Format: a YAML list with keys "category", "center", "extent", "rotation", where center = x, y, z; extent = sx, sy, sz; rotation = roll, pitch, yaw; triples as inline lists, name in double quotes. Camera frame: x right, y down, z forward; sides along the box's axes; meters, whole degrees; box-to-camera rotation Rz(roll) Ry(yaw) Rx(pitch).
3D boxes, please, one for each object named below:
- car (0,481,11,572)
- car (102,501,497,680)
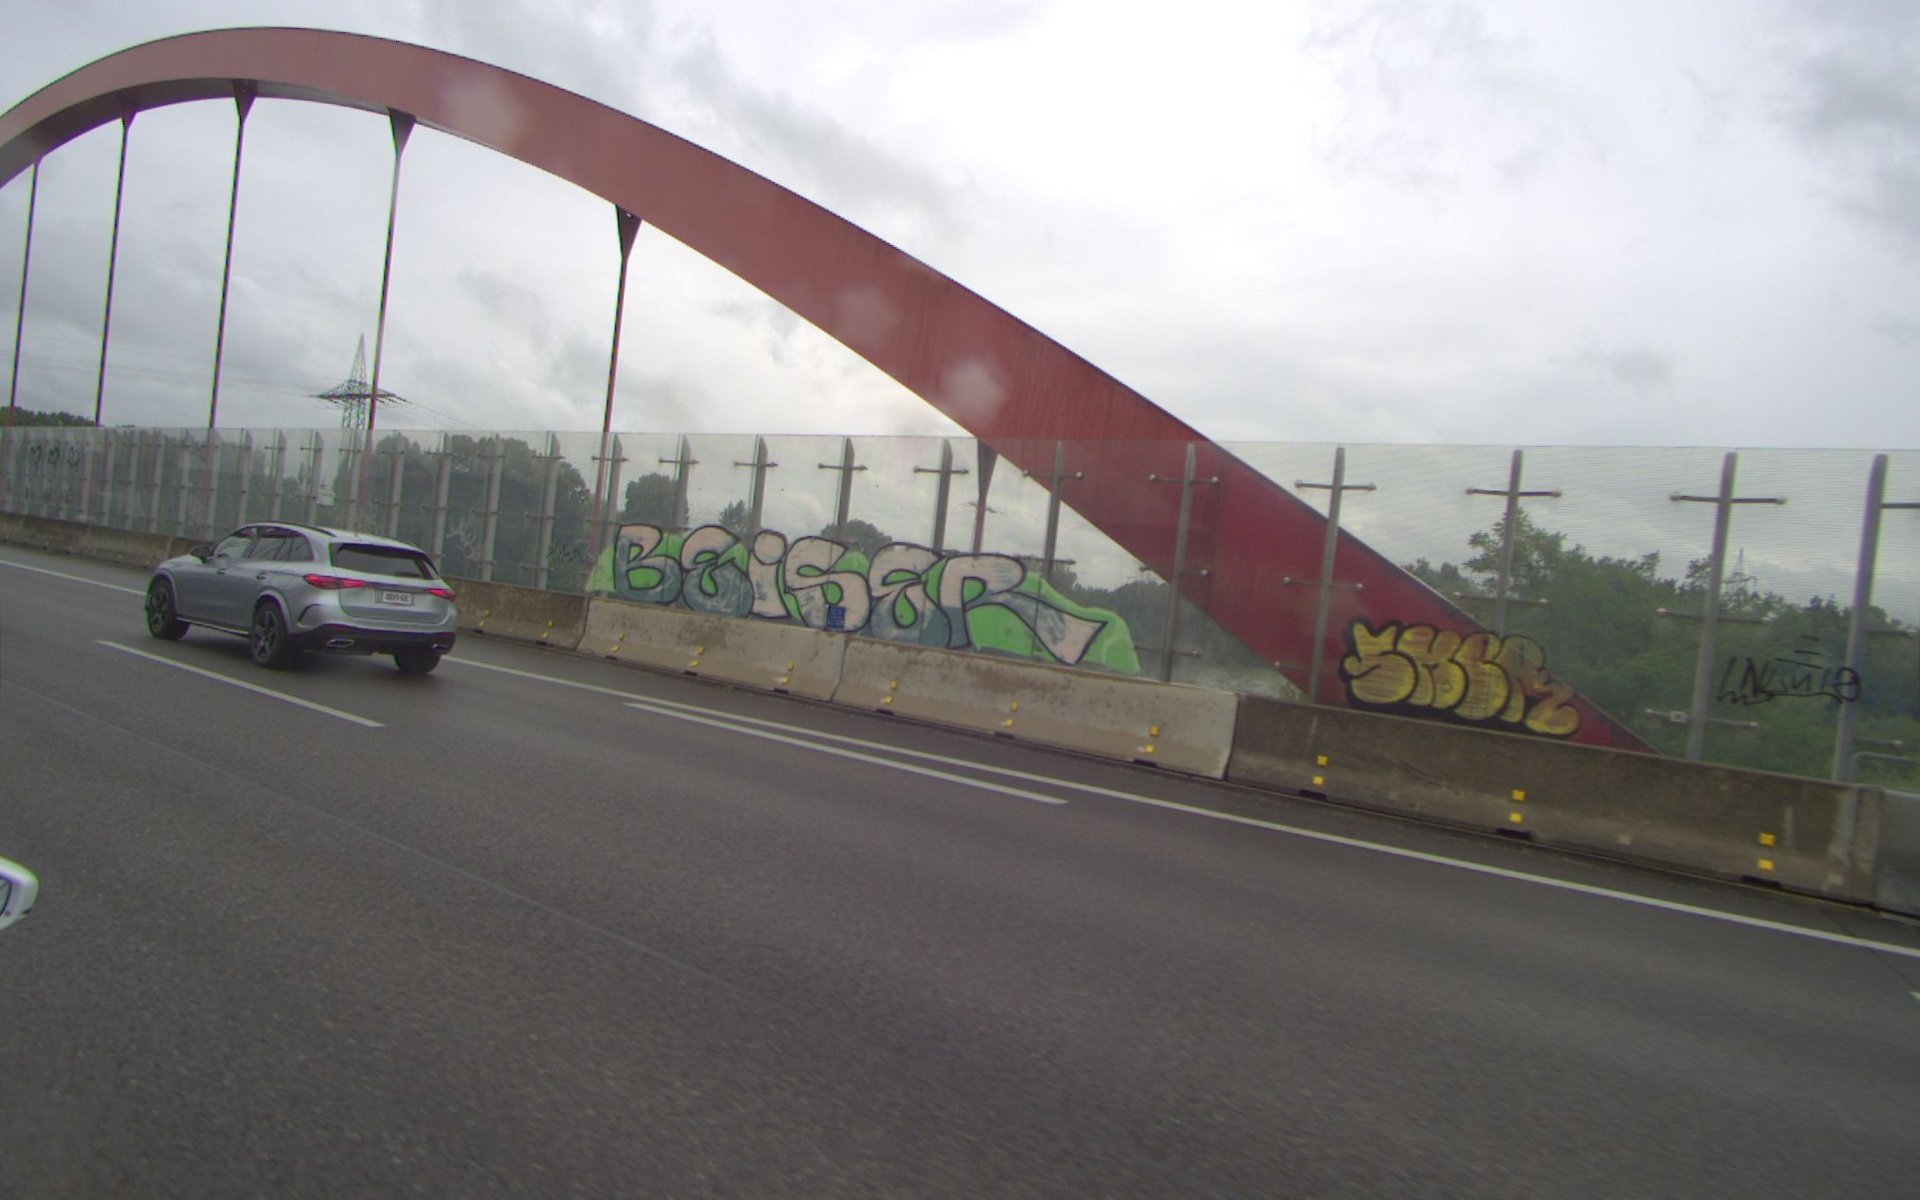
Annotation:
- category: "car"
  center: [-12.705, -0.727, 11.186]
  extent: [4.034, 1.690, 1.916]
  rotation: [6, -1, 30]
- category: "car"
  center: [-8.479, -0.160, 12.768]
  extent: [5.238, 1.638, 1.997]
  rotation: [6, -1, 31]
